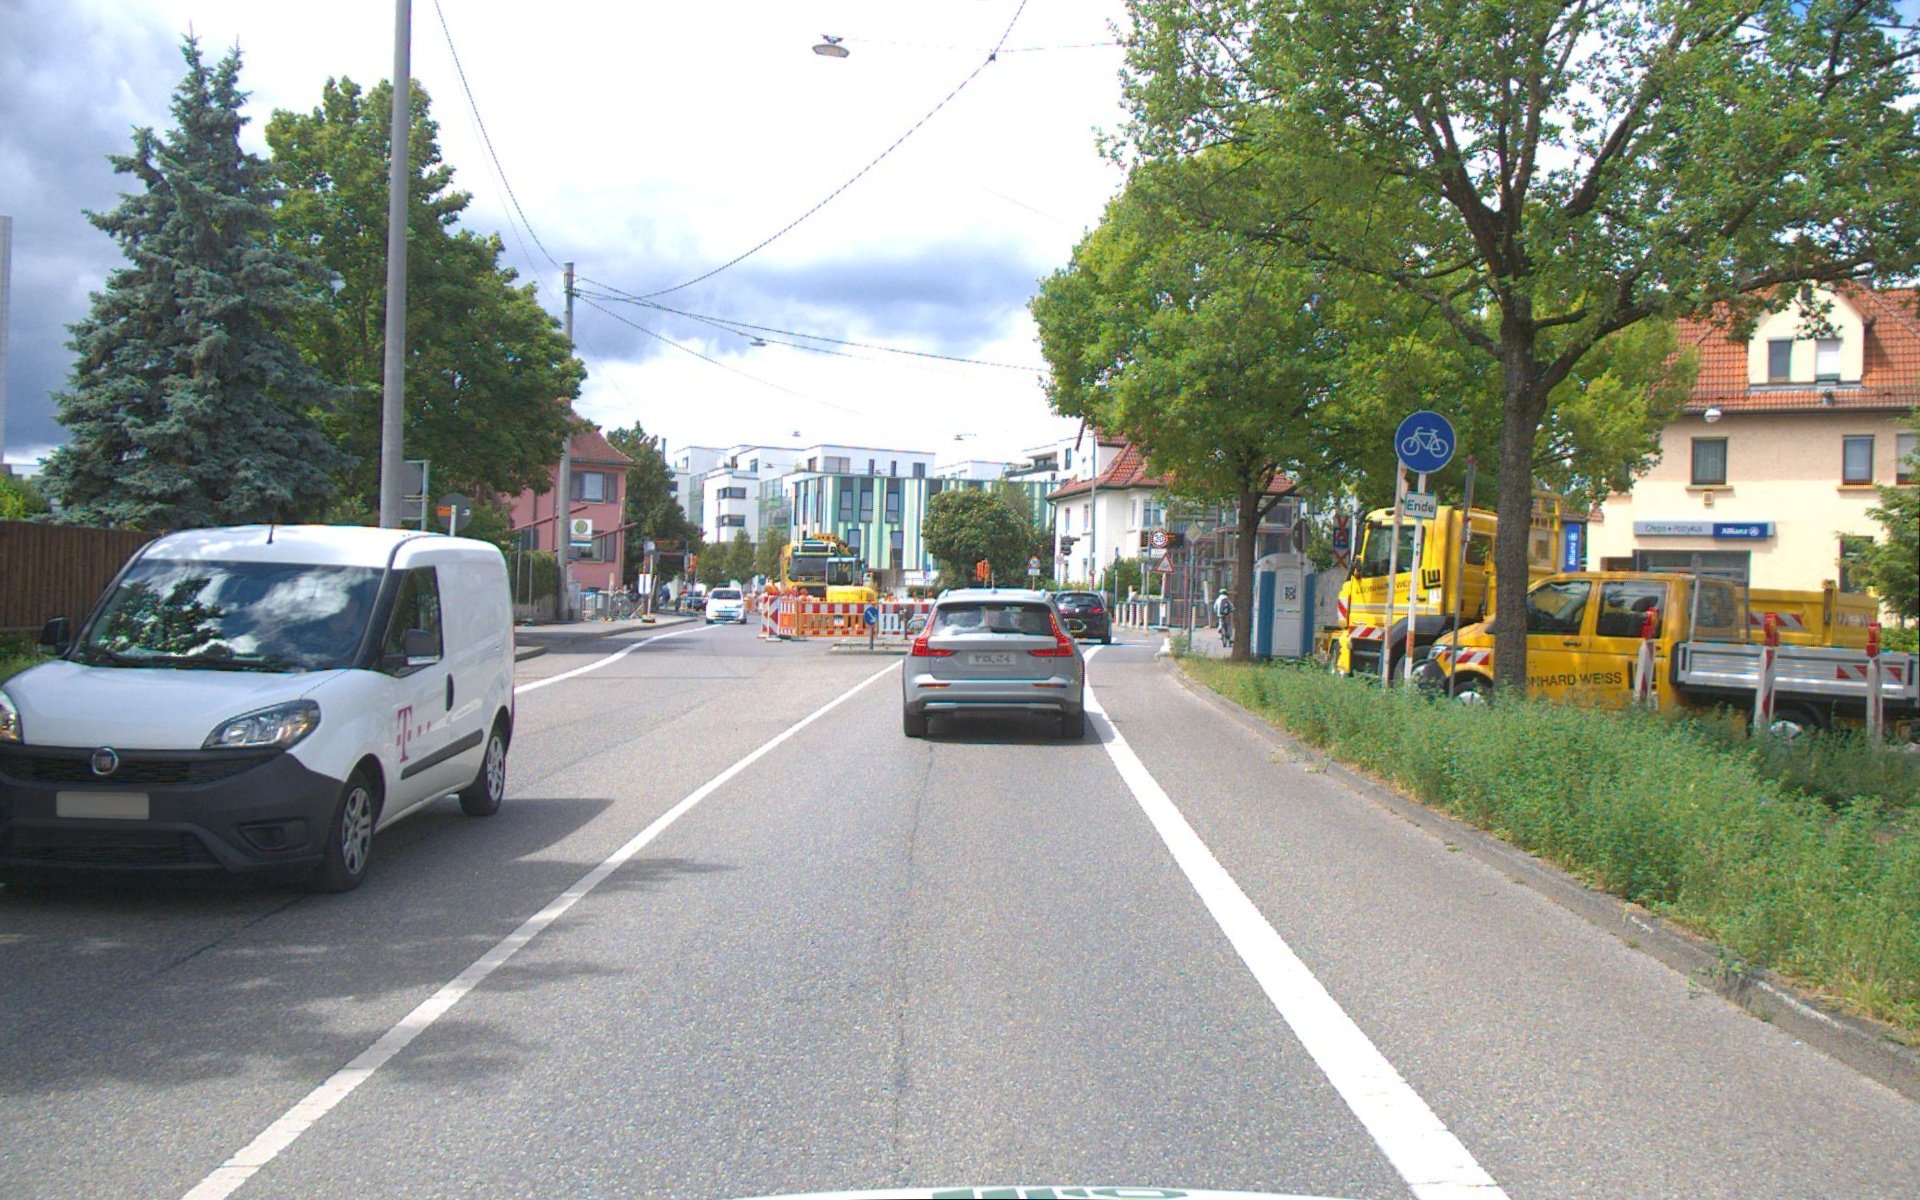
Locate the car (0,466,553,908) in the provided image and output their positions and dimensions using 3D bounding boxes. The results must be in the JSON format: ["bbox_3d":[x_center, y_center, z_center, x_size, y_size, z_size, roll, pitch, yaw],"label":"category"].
[{"bbox_3d":[-3.765,0.363,9.509,1.811,1.908,4.592,1,0,-2],"label":"car"}]

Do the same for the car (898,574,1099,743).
[{"bbox_3d":[0.450,0.540,17.669,1.888,1.567,4.001,1,0,2],"label":"car"}]

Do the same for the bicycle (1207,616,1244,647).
[{"bbox_3d":[7.755,0.913,48.416,0.583,0.826,1.751,4,-1,-6],"label":"bicycle"}]

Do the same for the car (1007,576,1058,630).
[{"bbox_3d":[3.070,0.147,69.432,1.952,2.049,4.001,4,-1,4],"label":"car"}]

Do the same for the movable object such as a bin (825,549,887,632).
[{"bbox_3d":[-3.634,-0.329,57.679,1.994,2.689,5.935,1,0,-4],"label":"movable object such as a bin"}]

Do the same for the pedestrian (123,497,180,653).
[{"bbox_3d":[-10.839,-0.335,22.182,0.394,2.049,0.414,4,-1,-1],"label":"pedestrian"}]

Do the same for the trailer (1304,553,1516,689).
[{"bbox_3d":[7.776,0.339,29.217,2.339,2.067,5.514,3,0,2],"label":"trailer"}]

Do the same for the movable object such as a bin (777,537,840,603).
[{"bbox_3d":[-7.398,-1.432,80.125,2.269,3.042,6.408,1,0,-12],"label":"movable object such as a bin"}]

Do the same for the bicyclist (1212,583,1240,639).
[{"bbox_3d":[7.789,0.323,48.447,0.578,1.586,0.566,4,-1,-7],"label":"bicyclist"}]

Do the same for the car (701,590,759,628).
[{"bbox_3d":[-9.669,0.398,69.819,1.849,1.534,4.000,-1,-1,0],"label":"car"}]

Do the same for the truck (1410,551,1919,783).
[{"bbox_3d":[7.885,0.641,17.678,5.577,2.049,1.988,3,-2,42],"label":"truck"}]

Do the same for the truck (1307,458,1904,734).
[{"bbox_3d":[8.196,-0.104,21.447,6.581,3.060,2.756,3,-2,39],"label":"truck"}]

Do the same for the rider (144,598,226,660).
[{"bbox_3d":[-10.012,0.374,21.387,0.715,0.747,0.689,4,-1,-6],"label":"rider"}]
